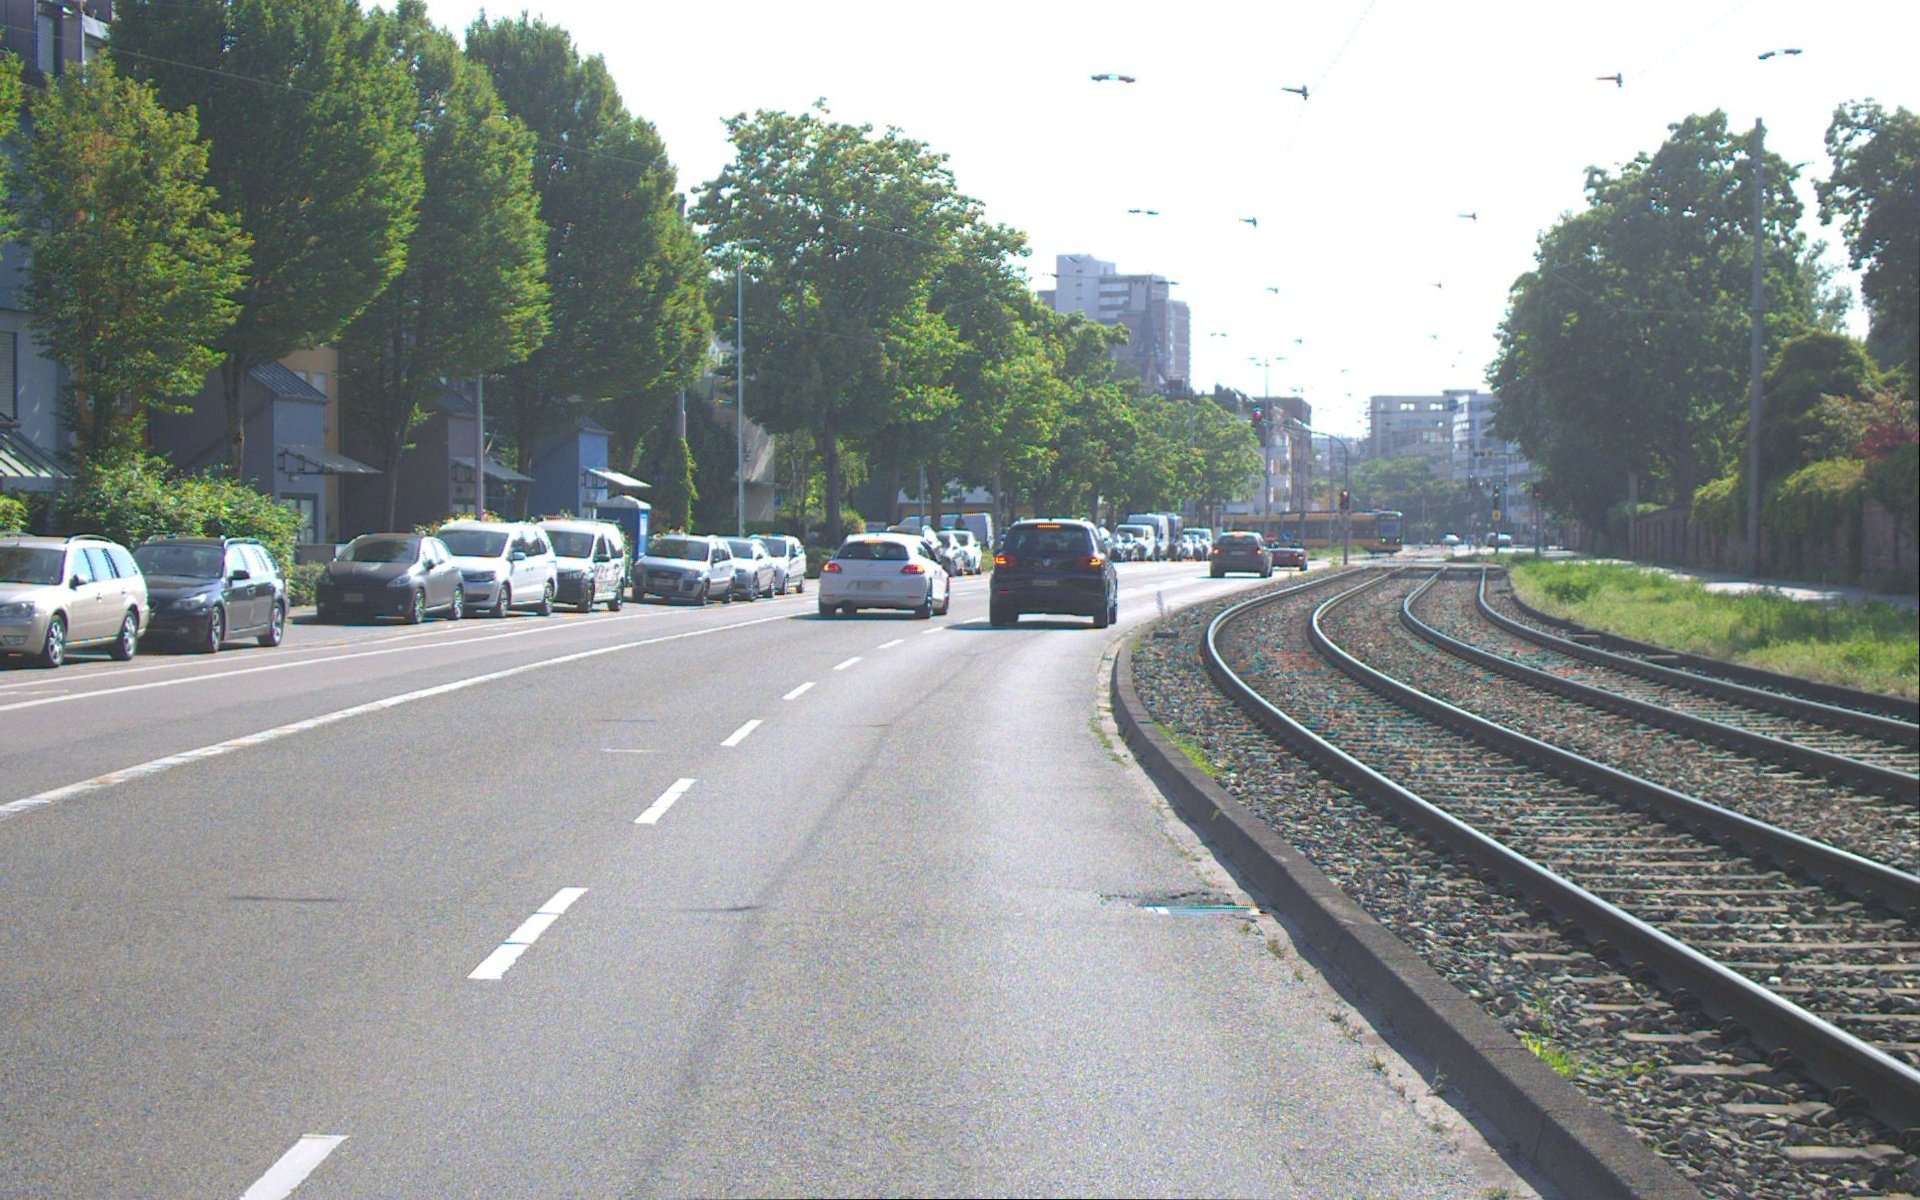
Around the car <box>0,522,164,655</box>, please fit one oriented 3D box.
[{"bbox_3d":[-10.956,-0.174,40.593,1.712,1.466,4.844,2,1,3],"label":"car"}]

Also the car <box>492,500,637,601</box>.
[{"bbox_3d":[-7.918,-1.017,69.263,1.763,1.839,4.579,5,2,7],"label":"car"}]

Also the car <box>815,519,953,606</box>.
[{"bbox_3d":[-1.217,-0.644,56.666,1.865,1.343,4.000,1,1,5],"label":"car"}]

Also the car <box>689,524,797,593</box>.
[{"bbox_3d":[-5.275,-1.042,84.095,1.749,1.505,4.755,5,2,6],"label":"car"}]

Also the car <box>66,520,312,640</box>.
[{"bbox_3d":[-10.332,-0.307,46.442,1.710,1.467,4.909,3,1,6],"label":"car"}]

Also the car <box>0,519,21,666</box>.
[{"bbox_3d":[-11.141,-0.086,35.179,1.762,1.568,4.299,2,1,1],"label":"car"}]

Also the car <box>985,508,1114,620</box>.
[{"bbox_3d":[1.425,-0.579,53.234,1.811,1.639,4.000,1,1,4],"label":"car"}]

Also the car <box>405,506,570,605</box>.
[{"bbox_3d":[-8.617,-0.839,63.078,1.669,1.695,4.822,2,1,8],"label":"car"}]

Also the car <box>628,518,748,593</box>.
[{"bbox_3d":[-6.231,-1.042,79.205,1.763,1.533,3.980,5,2,9],"label":"car"}]

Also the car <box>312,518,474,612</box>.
[{"bbox_3d":[-9.481,-0.611,57.763,1.616,1.460,4.057,2,1,6],"label":"car"}]

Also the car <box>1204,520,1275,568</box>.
[{"bbox_3d":[8.875,-1.801,108.988,1.812,1.444,3.998,2,2,10],"label":"car"}]

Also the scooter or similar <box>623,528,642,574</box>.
[{"bbox_3d":[-8.243,-1.233,86.474,0.294,1.149,1.043,0,1,4],"label":"scooter or similar"}]

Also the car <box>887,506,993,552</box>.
[{"bbox_3d":[-1.072,-3.804,183.048,5.377,2.415,2.087,0,1,9],"label":"car"}]

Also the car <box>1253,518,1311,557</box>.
[{"bbox_3d":[12.415,-2.424,132.490,1.812,1.444,3.998,2,2,11],"label":"car"}]

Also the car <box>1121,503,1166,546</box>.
[{"bbox_3d":[10.042,-4.129,188.141,1.864,2.339,4.983,0,1,10],"label":"car"}]
